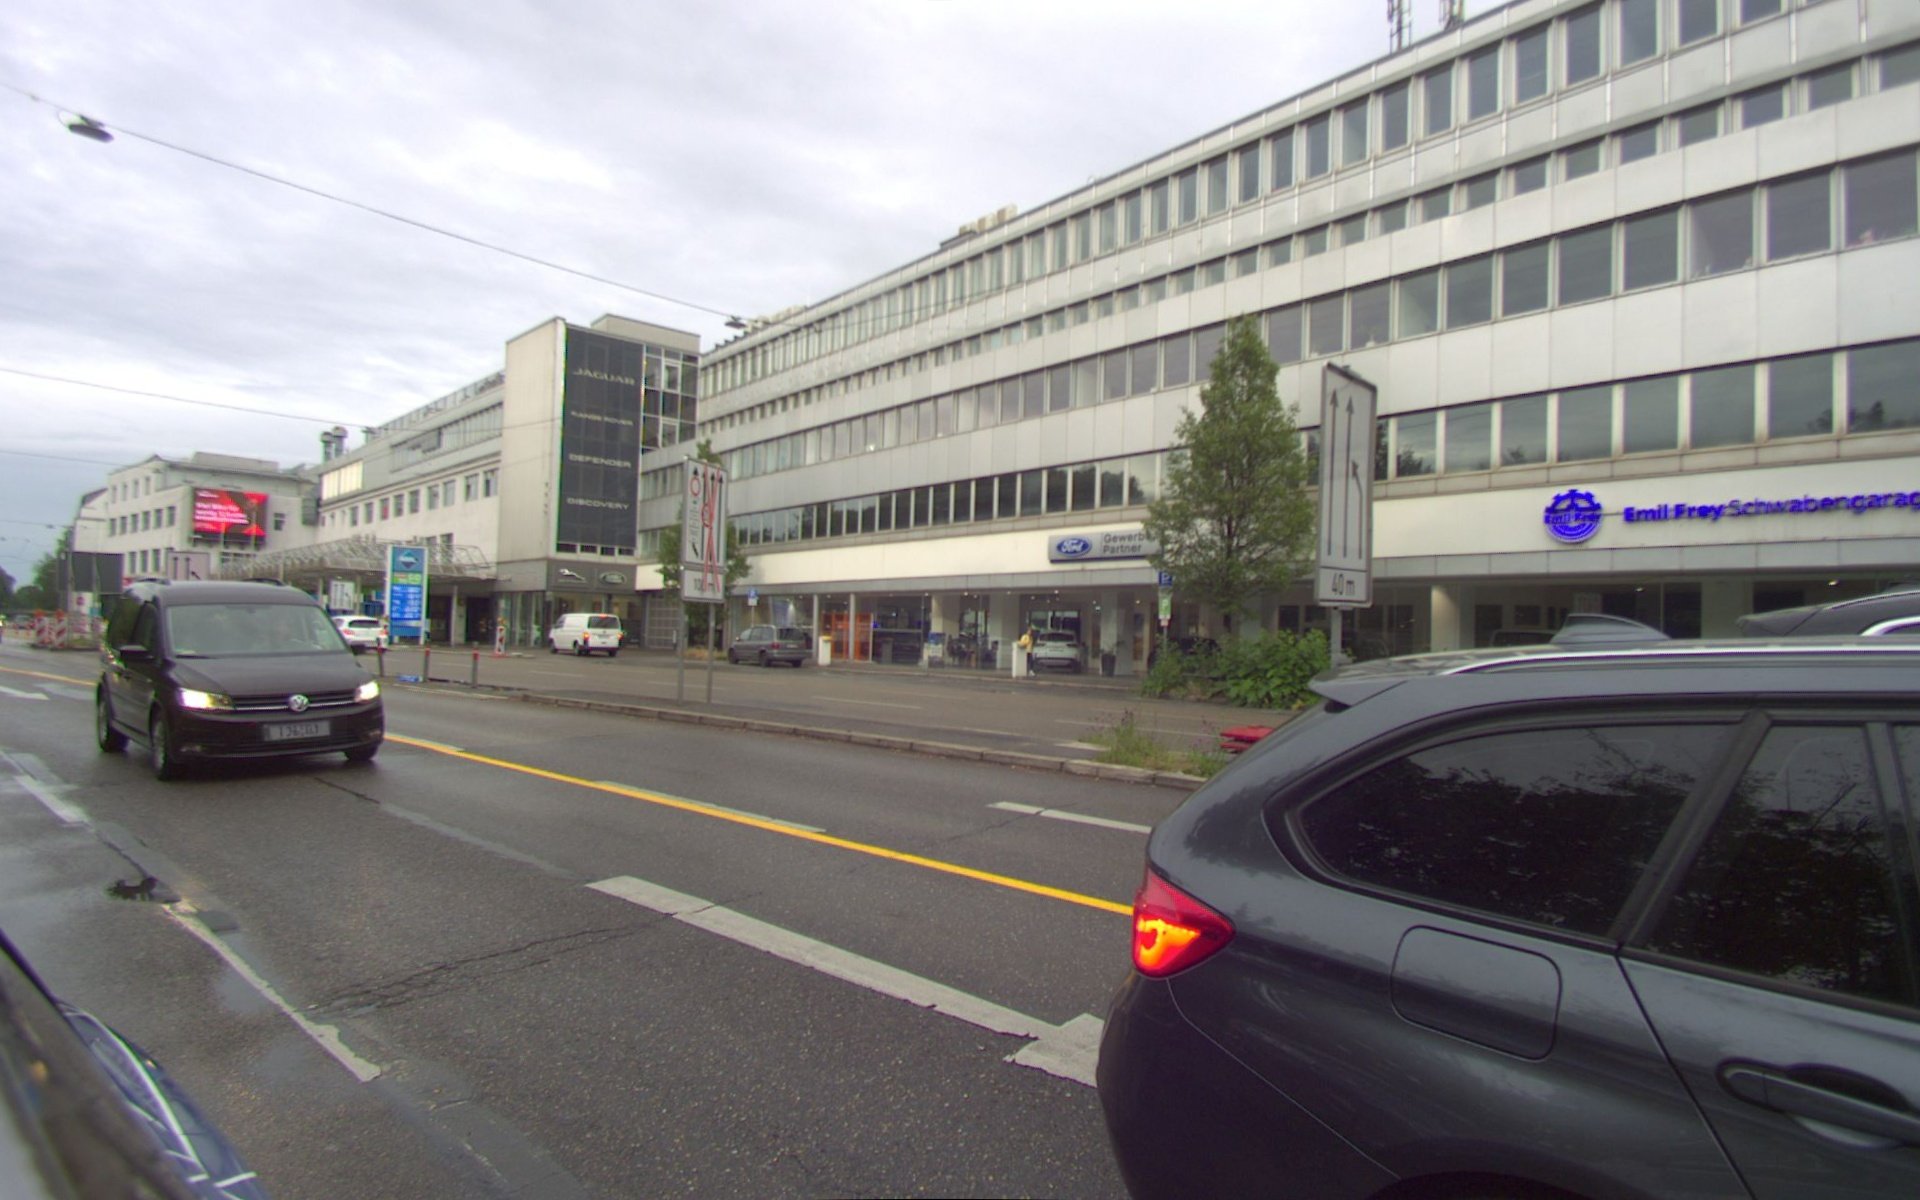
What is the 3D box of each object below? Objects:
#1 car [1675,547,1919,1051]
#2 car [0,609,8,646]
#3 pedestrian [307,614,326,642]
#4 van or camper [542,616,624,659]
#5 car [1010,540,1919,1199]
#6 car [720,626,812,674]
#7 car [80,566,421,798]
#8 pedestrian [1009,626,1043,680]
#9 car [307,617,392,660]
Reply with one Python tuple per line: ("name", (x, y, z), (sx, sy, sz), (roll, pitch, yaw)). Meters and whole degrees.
("car", (4.915, 0.637, 2.922), (4.445, 1.668, 1.789), (-1, 0, 44))
("car", (-44.274, 1.233, 45.579), (3.948, 1.629, 1.747), (-1, 0, 43))
("pedestrian", (-42.379, 1.850, 66.648), (0.882, 1.828, 0.942), (-1, 0, -45))
("van or camper", (-17.654, 1.728, 47.290), (1.912, 1.938, 4.689), (3, -3, -43))
("car", (2.338, 0.691, 1.087), (4.476, 1.469, 1.757), (-1, -3, 42))
("car", (-8.305, 2.069, 43.119), (1.895, 1.829, 4.169), (-1, 0, -44))
("car", (-7.268, 0.660, 10.176), (4.429, 1.828, 1.880), (-1, 0, 42))
("pedestrian", (2.248, 1.787, 34.658), (0.750, 1.788, 0.865), (-1, 0, -42))
("car", (-24.243, 1.540, 40.143), (3.763, 1.544, 1.782), (-2, -7, 42))
